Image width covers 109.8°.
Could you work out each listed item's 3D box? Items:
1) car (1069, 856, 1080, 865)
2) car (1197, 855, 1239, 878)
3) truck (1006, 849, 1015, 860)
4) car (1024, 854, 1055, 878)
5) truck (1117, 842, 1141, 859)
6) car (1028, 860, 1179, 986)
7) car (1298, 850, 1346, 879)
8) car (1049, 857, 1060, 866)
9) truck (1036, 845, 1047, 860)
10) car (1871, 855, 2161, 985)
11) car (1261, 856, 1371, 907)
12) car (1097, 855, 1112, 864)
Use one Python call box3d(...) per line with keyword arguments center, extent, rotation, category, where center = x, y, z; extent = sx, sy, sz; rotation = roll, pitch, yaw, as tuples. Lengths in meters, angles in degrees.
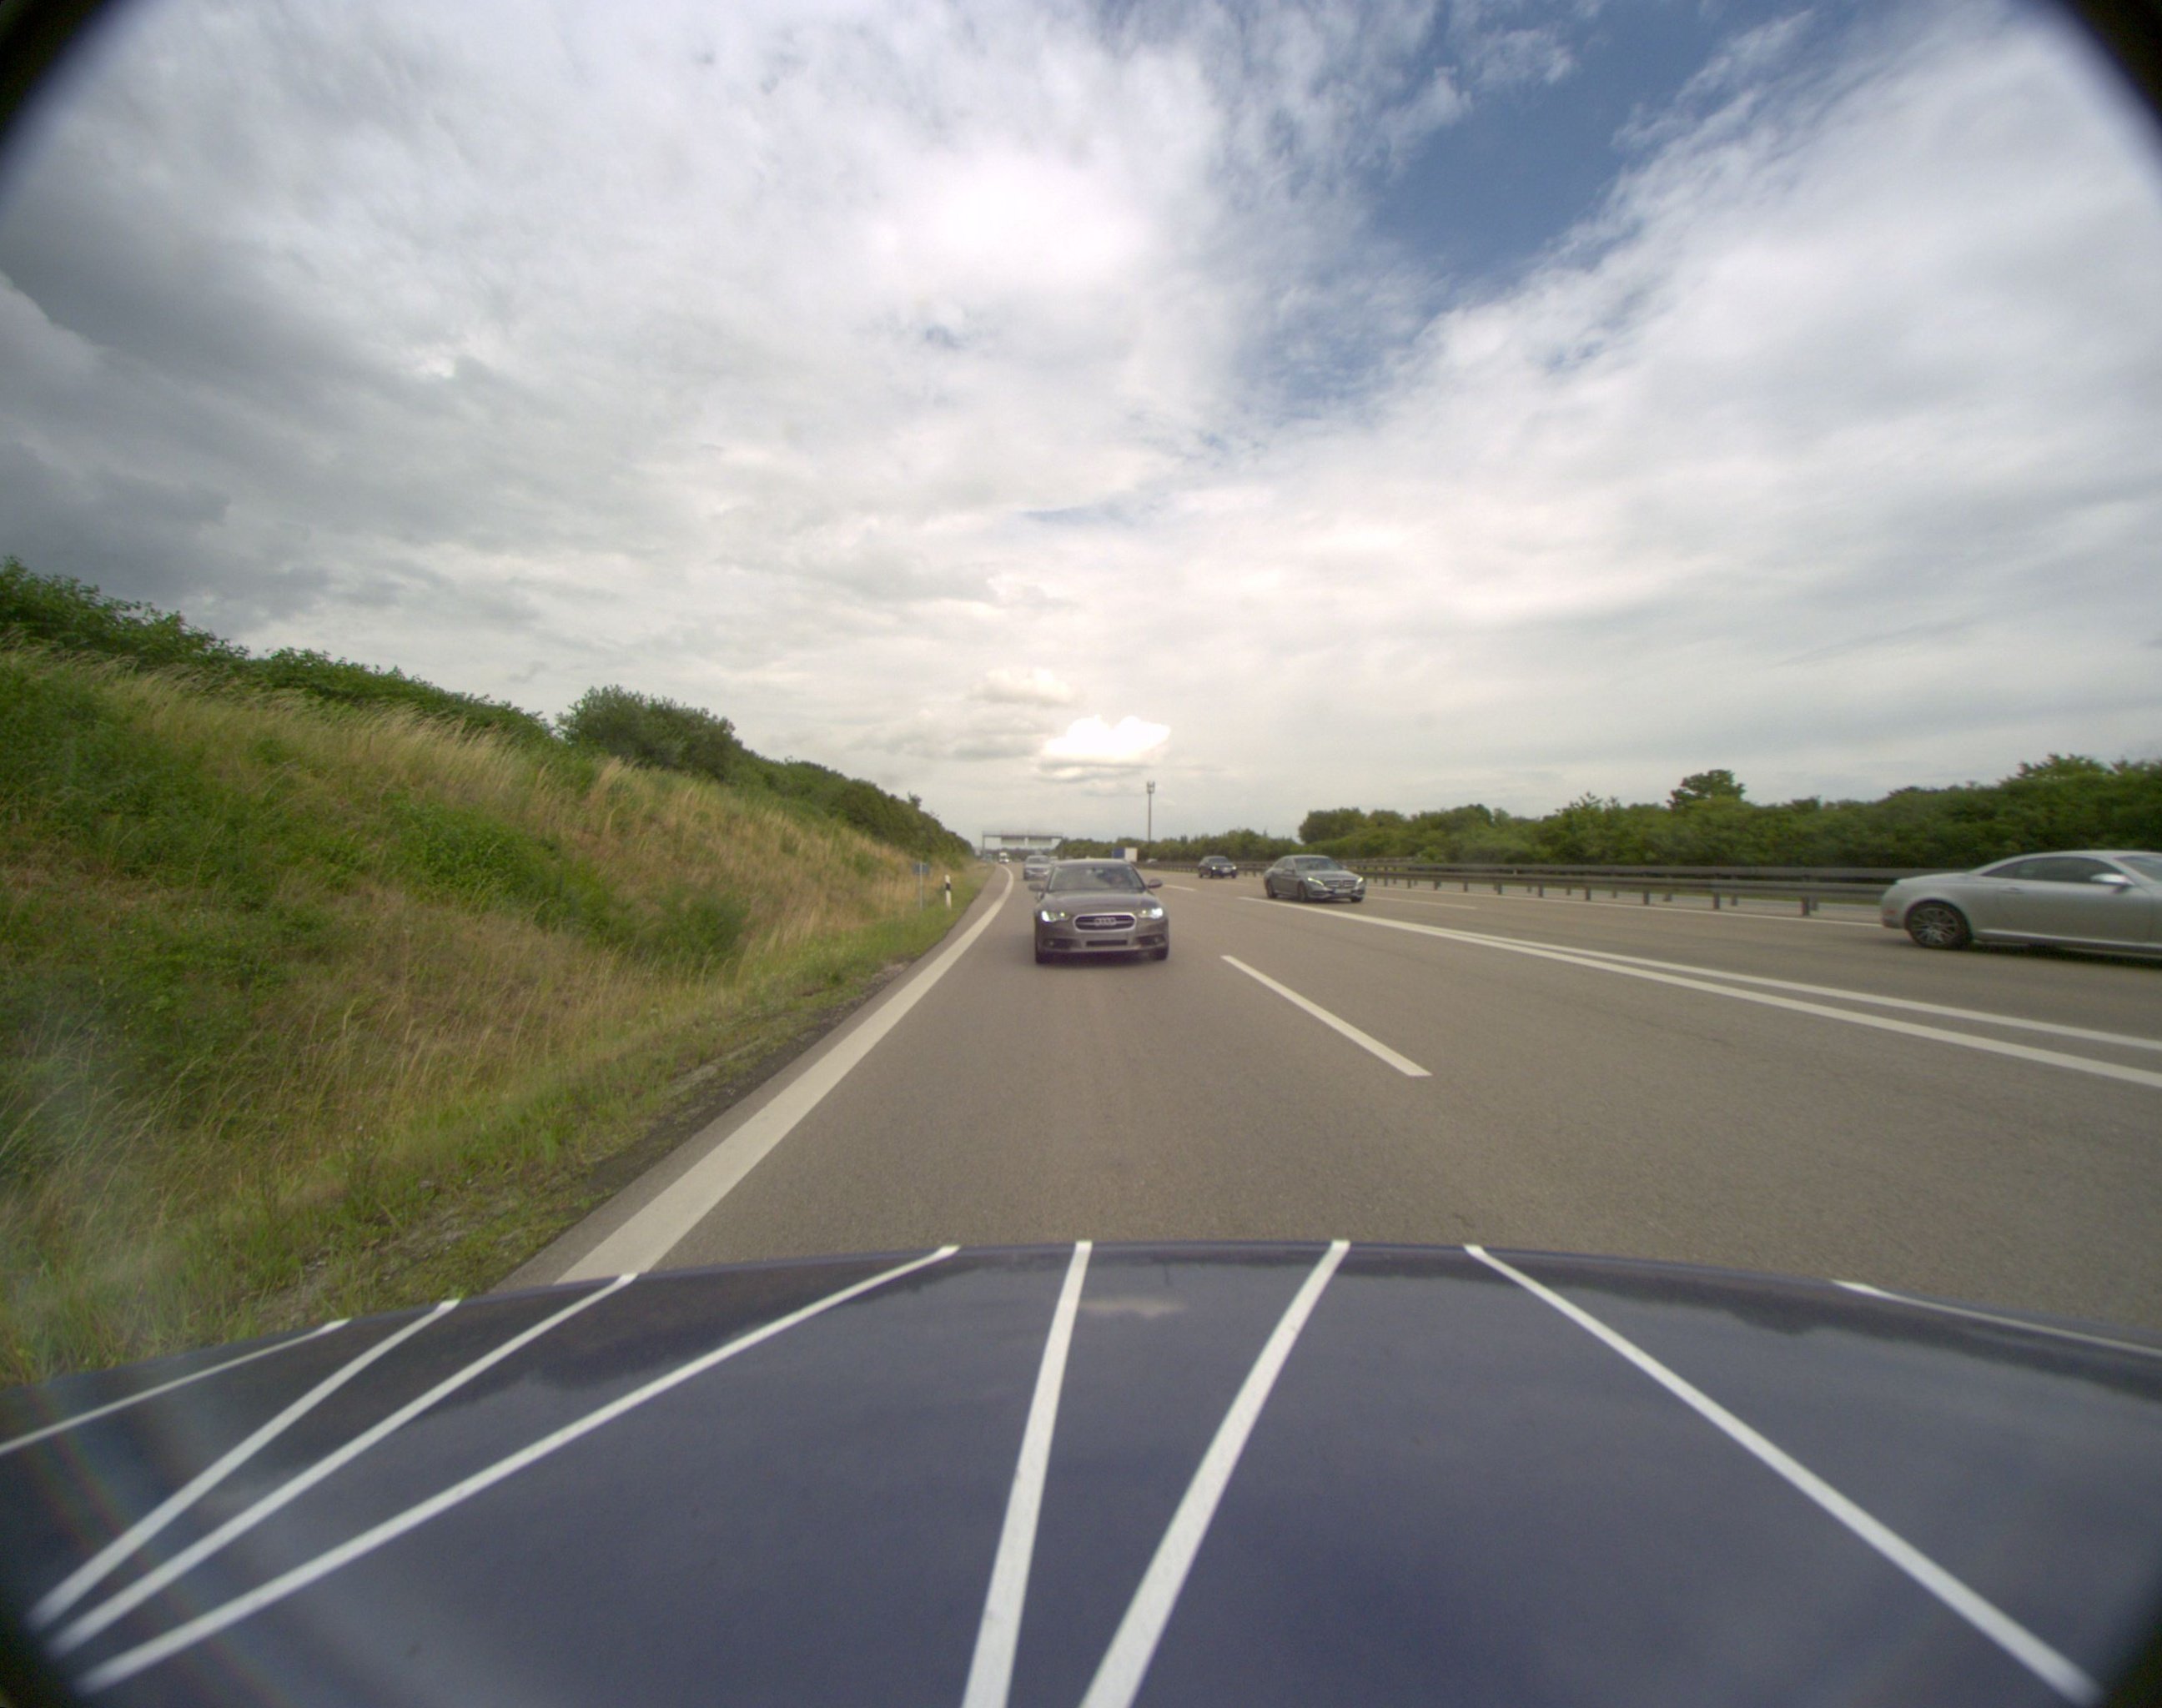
box3d(center=(-1.377, 1.343, 155.650), extent=(1.999, 1.775, 5.409), rotation=(-1, 0, -4), category="car")
box3d(center=(9.039, 0.812, 50.376), extent=(1.785, 1.390, 4.304), rotation=(-1, 0, -4), category="car")
box3d(center=(-20.537, 0.062, 221.024), extent=(2.449, 3.216, 7.187), rotation=(-1, 0, -5), category="truck")
box3d(center=(-2.829, 0.788, 51.161), extent=(1.999, 1.567, 3.998), rotation=(-1, 0, -4), category="car")
box3d(center=(10.048, -0.743, 160.565), extent=(3.168, 3.508, 9.972), rotation=(-2, 1, -7), category="truck")
box3d(center=(0.198, 0.877, 11.513), extent=(1.849, 1.489, 4.027), rotation=(-2, 0, -3), category="car")
box3d(center=(17.434, 0.701, 55.077), extent=(1.999, 2.002, 3.998), rotation=(-1, 0, -4), category="car")
box3d(center=(-5.041, 1.418, 143.868), extent=(1.882, 1.741, 4.485), rotation=(-1, 0, -4), category="car")
box3d(center=(-10.110, -0.320, 193.210), extent=(2.474, 3.350, 7.923), rotation=(-1, -2, -4), category="truck")
box3d(center=(12.608, 0.727, 9.015), extent=(1.785, 1.390, 4.304), rotation=(-1, 0, -6), category="car")
box3d(center=(7.194, 0.785, 23.735), extent=(1.785, 1.390, 4.549), rotation=(-1, 0, -4), category="car")
box3d(center=(3.693, 0.893, 119.113), extent=(1.727, 1.415, 4.795), rotation=(0, 0, -5), category="car")
